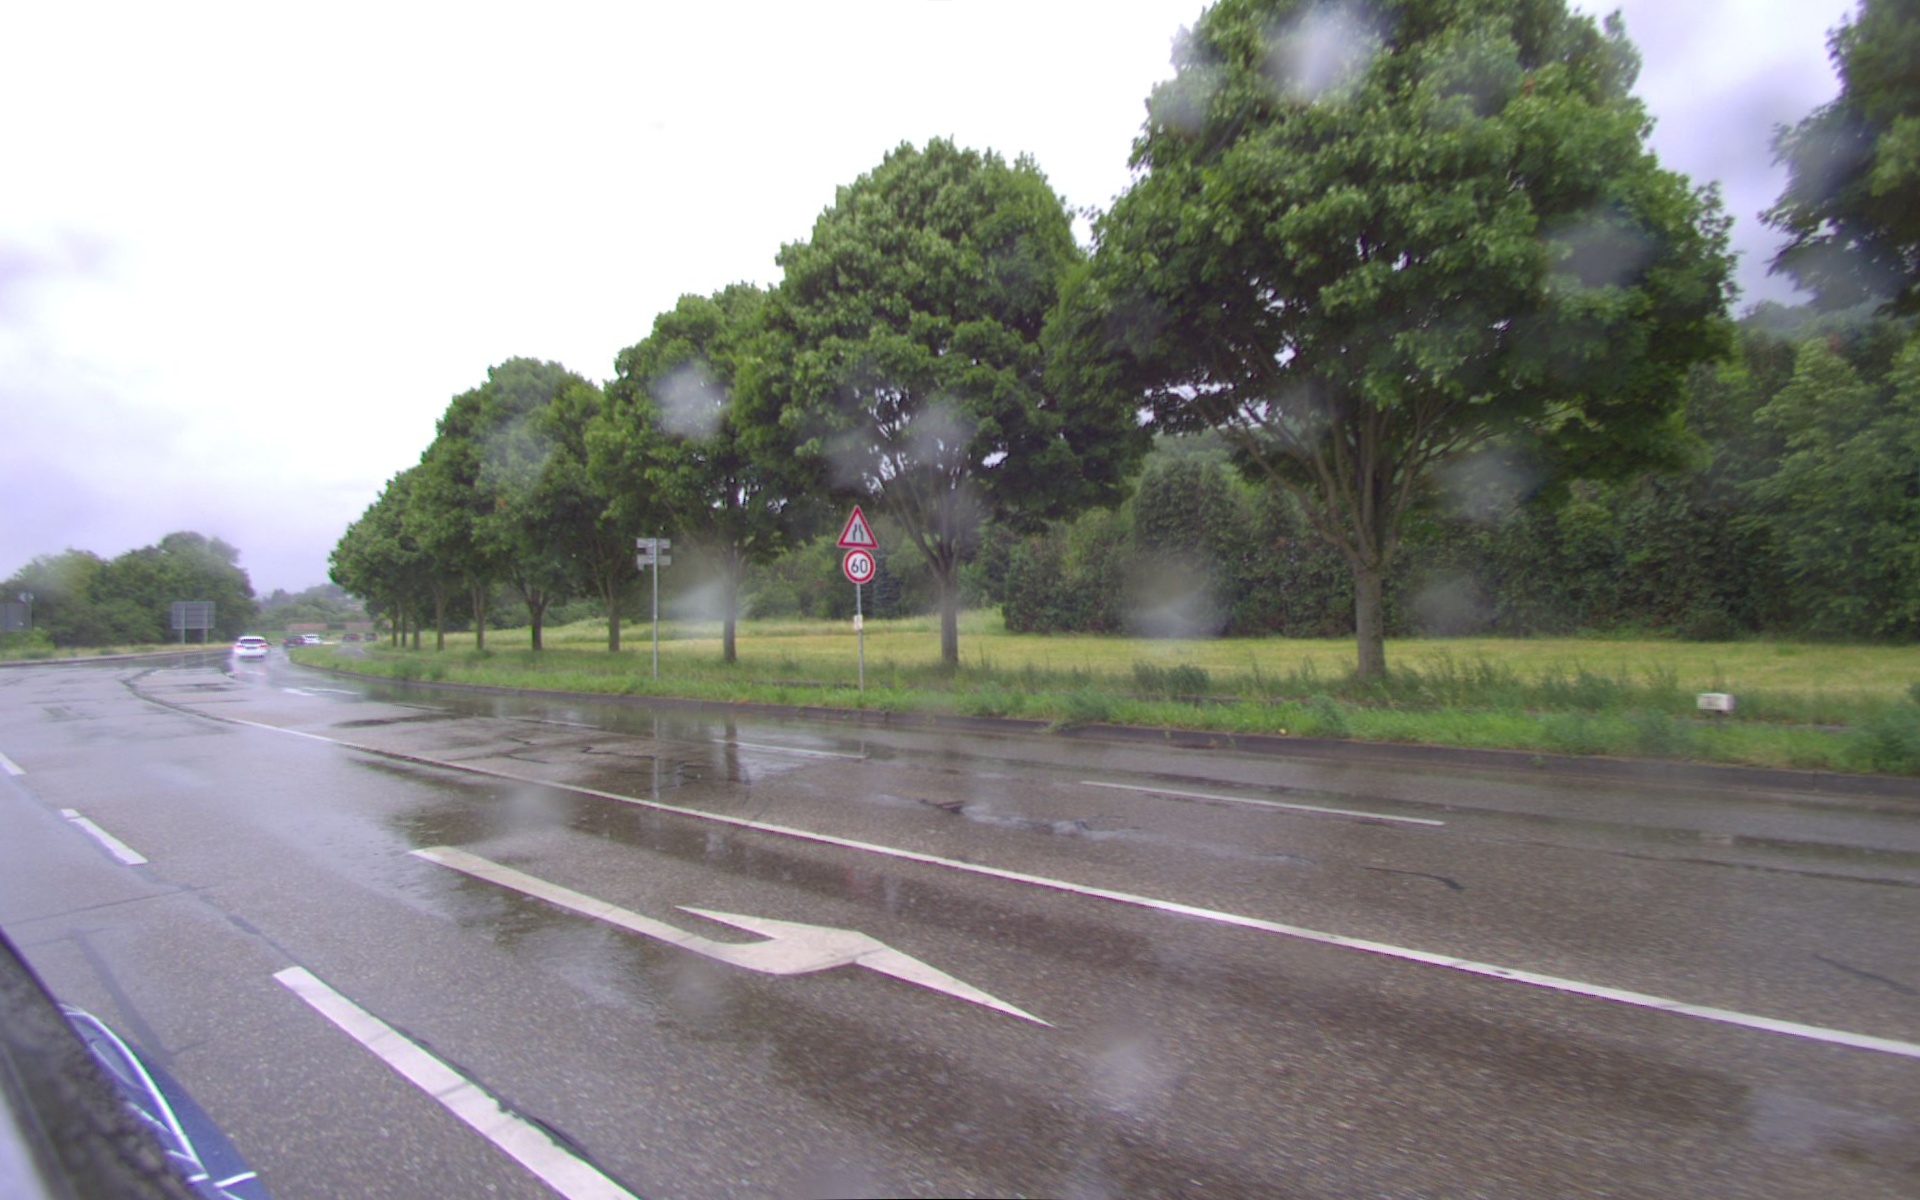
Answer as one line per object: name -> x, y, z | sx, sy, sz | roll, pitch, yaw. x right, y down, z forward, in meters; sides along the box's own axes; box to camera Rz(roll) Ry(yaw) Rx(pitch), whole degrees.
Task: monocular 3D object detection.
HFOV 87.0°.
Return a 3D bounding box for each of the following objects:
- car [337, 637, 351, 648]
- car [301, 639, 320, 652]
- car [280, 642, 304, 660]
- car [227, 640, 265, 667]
car -> -97.628, 6.712, 160.433 | 1.898, 1.756, 4.300 | 2, -2, -32
car -> -73.512, 5.127, 114.574 | 1.715, 1.498, 4.022 | 2, -3, -33
car -> -66.600, 5.040, 100.905 | 1.858, 1.599, 4.130 | -2, 0, -32
car -> -44.189, 3.296, 62.589 | 1.854, 1.585, 4.655 | 2, -3, -36
